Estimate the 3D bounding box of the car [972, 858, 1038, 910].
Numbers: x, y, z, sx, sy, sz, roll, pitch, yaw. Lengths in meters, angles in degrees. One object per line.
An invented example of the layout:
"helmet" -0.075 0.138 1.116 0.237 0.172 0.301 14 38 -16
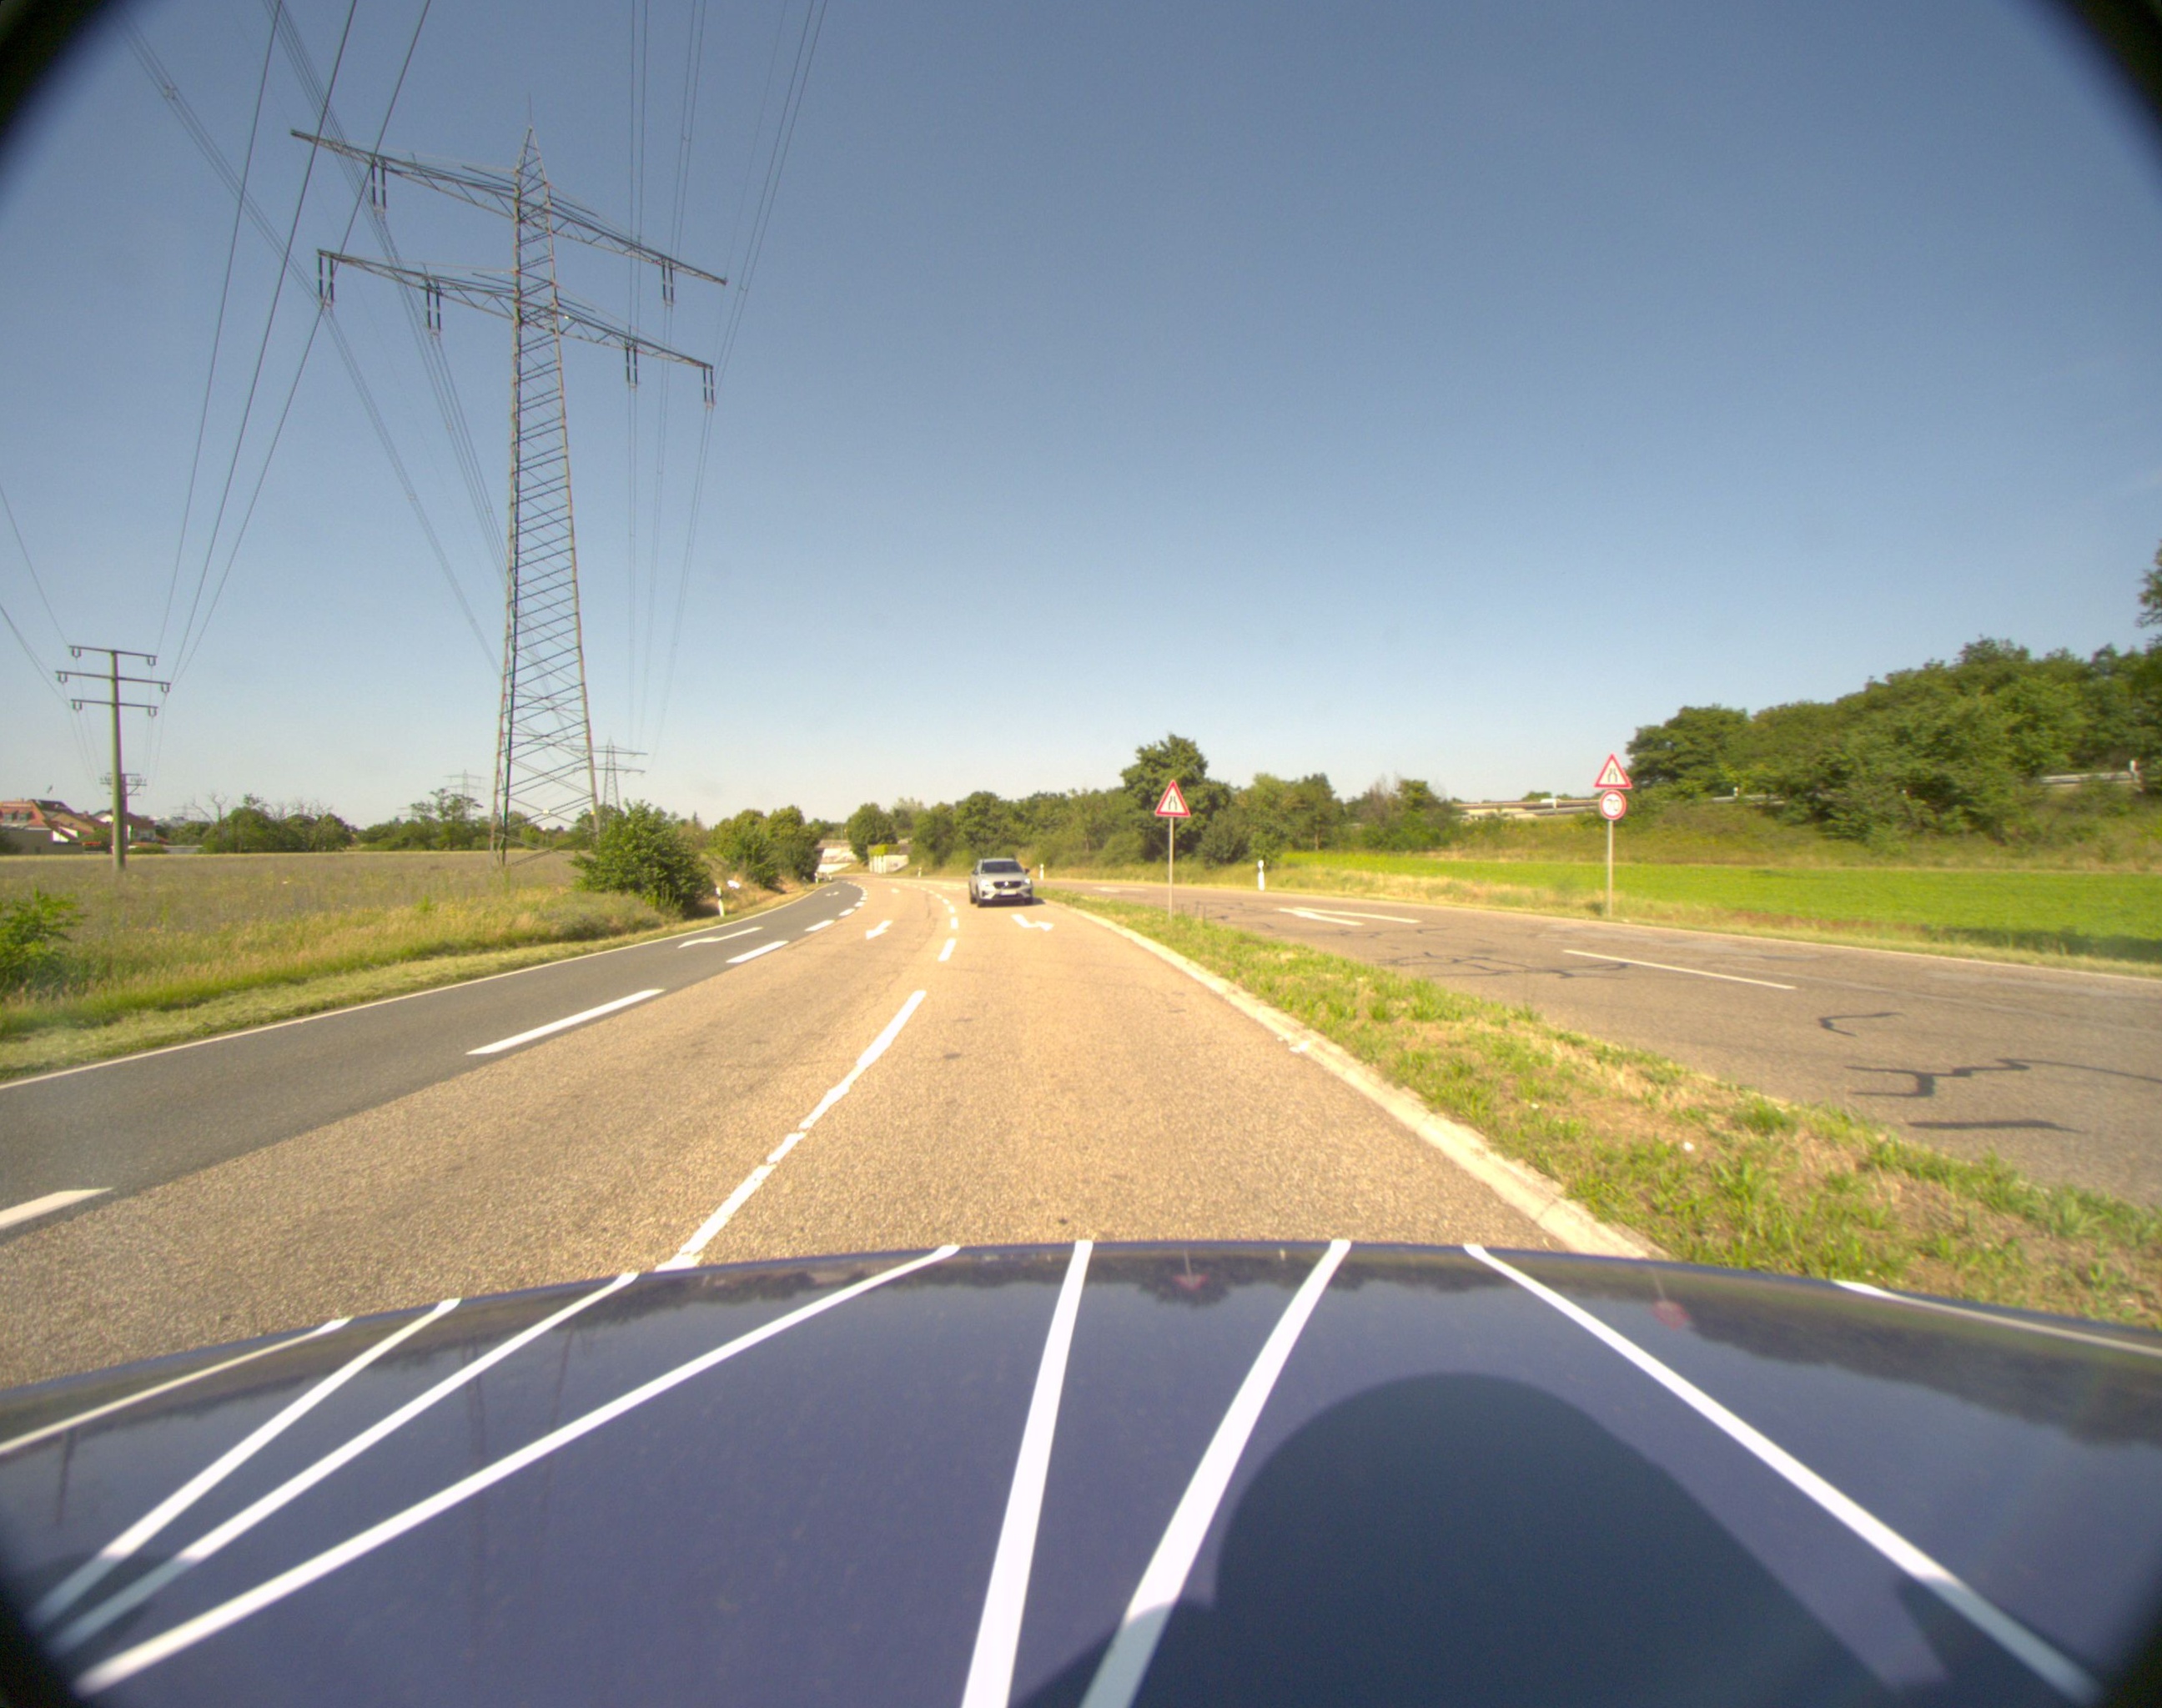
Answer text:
"car" -2.725 0.982 26.525 1.861 1.609 3.644 -2 0 -11
